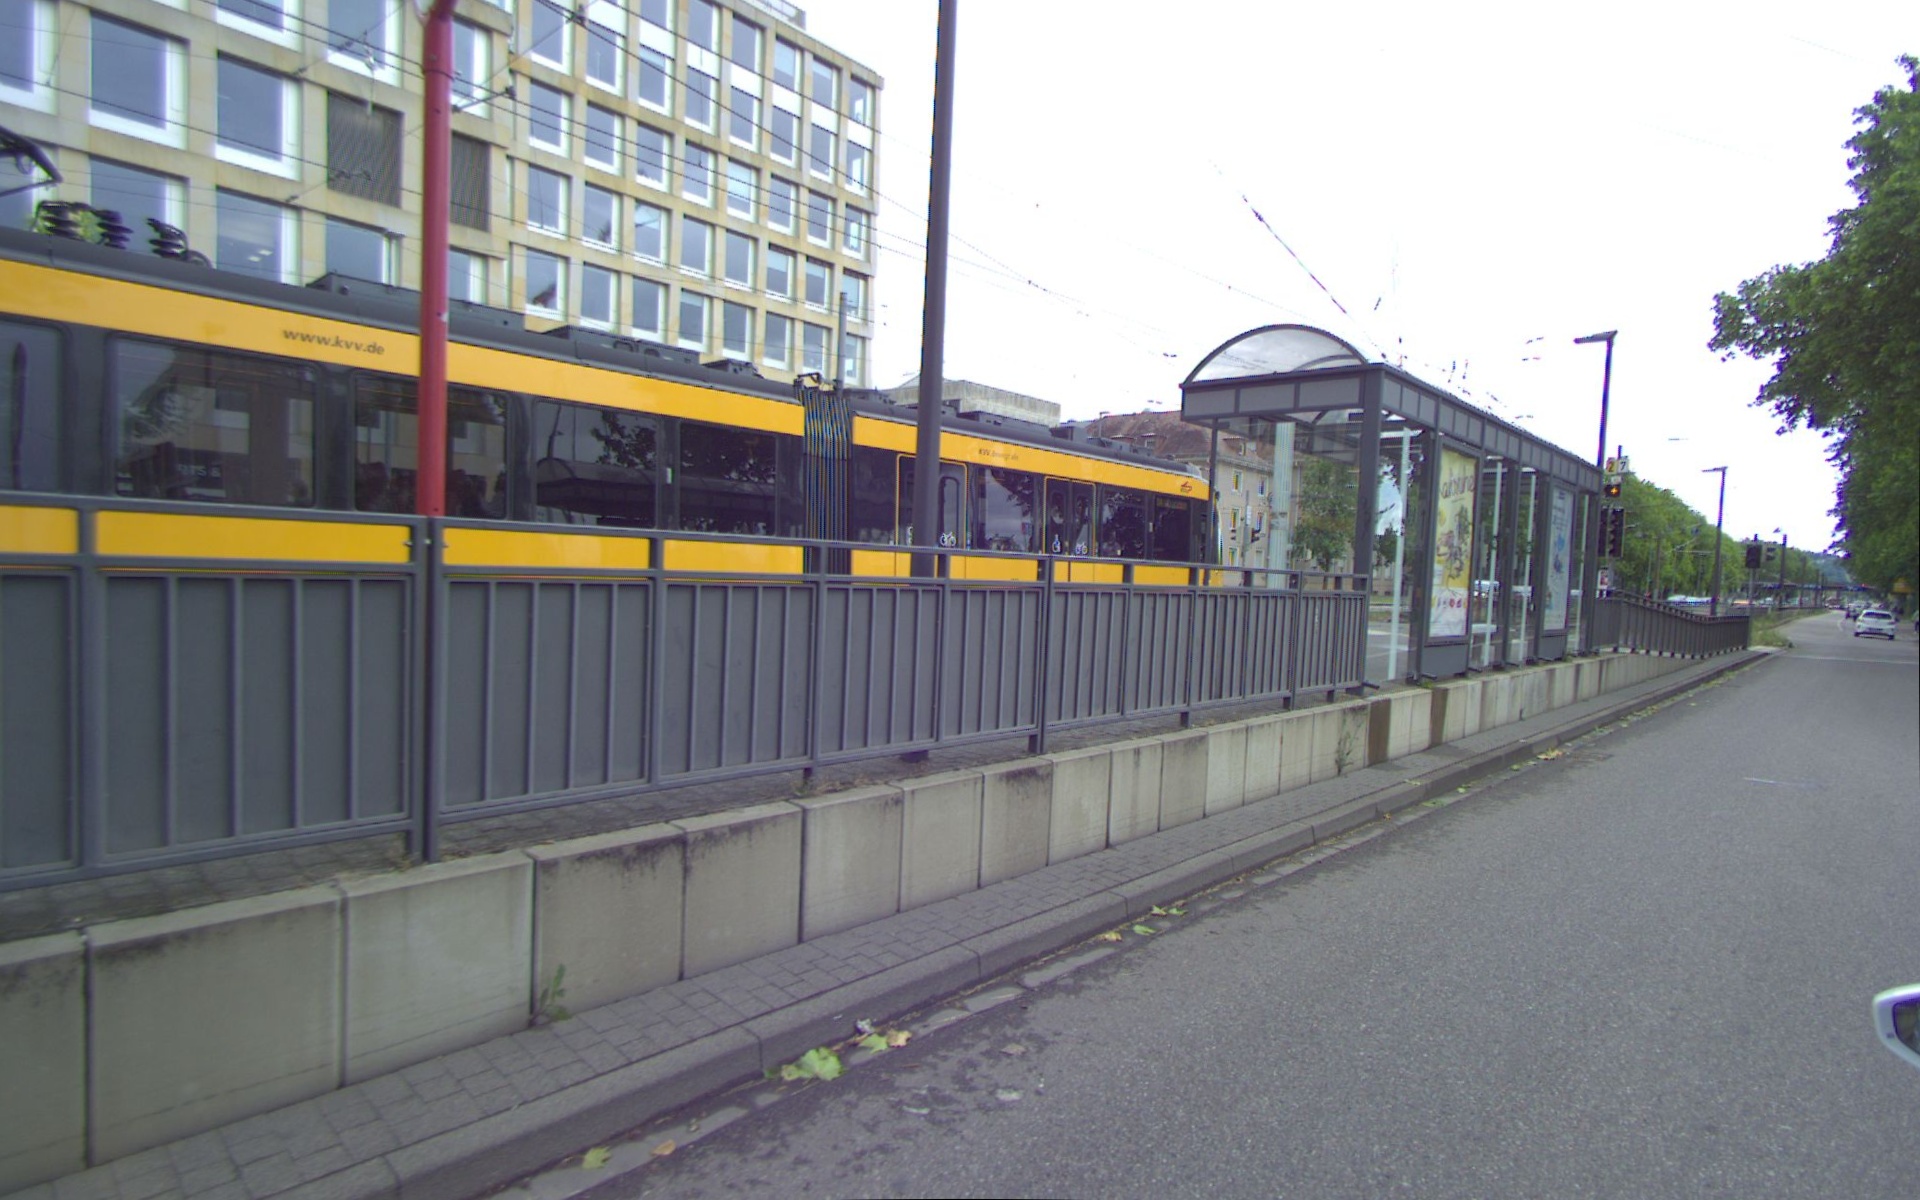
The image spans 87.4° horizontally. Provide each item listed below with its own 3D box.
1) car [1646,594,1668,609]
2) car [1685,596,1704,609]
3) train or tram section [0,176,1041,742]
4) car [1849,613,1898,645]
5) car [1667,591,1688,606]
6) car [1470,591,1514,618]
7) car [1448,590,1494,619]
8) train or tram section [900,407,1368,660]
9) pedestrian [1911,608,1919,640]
[{"bbox_3d":[90.718,0.208,130.737,1.969,1.818,3.982,4,2,39],"label":"car"},{"bbox_3d":[107.024,0.348,146.398,1.969,1.818,3.982,4,2,39],"label":"car"},{"bbox_3d":[-4.826,-1.054,12.498,3.145,4.235,14.651,4,2,42],"label":"train or tram section"},{"bbox_3d":[49.763,1.547,54.716,1.821,1.573,3.976,4,2,44],"label":"car"},{"bbox_3d":[95.211,-0.218,133.341,1.969,1.818,3.982,4,2,39],"label":"car"},{"bbox_3d":[38.663,0.347,72.962,1.969,1.818,3.982,4,2,39],"label":"car"},{"bbox_3d":[34.919,0.280,68.597,1.969,1.818,3.982,4,2,39],"label":"car"},{"bbox_3d":[5.040,-1.092,23.338,3.145,4.235,14.651,4,2,42],"label":"train or tram section"},{"bbox_3d":[61.877,1.554,64.956,0.398,2.041,0.393,1,2,-32],"label":"pedestrian"}]
